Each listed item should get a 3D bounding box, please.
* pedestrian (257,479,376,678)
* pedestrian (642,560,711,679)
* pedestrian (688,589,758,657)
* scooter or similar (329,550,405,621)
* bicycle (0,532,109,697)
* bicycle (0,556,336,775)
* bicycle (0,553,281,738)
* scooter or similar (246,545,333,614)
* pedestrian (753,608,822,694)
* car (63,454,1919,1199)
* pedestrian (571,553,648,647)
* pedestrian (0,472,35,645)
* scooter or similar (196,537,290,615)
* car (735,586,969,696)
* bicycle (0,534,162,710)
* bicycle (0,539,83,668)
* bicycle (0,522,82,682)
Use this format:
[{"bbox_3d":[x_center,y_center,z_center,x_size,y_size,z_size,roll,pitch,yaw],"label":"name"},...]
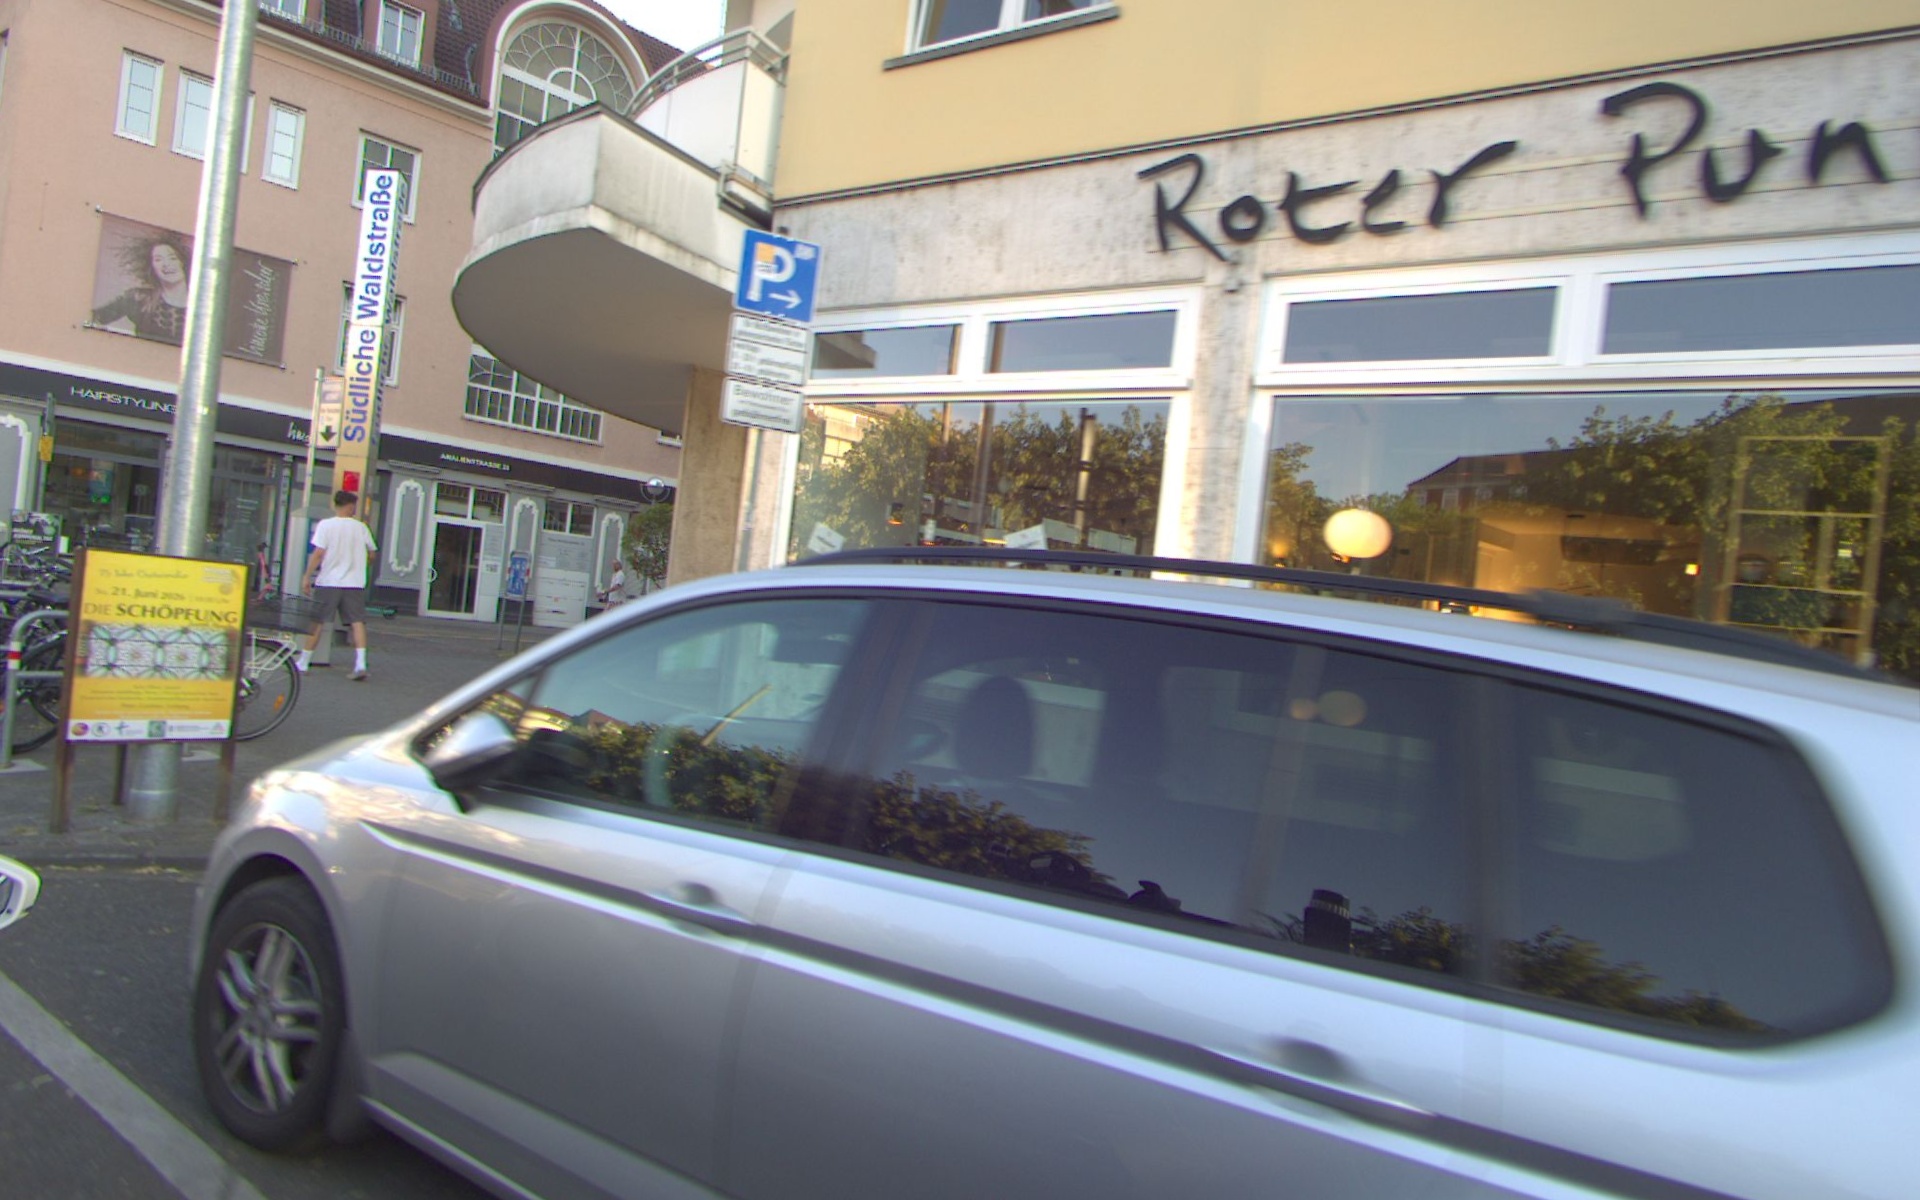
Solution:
[{"bbox_3d":[-6.461,-0.205,10.150,0.817,1.839,0.865,6,0,-31],"label":"pedestrian"},{"bbox_3d":[-4.328,0.301,15.392,0.743,1.689,0.732,7,-1,-8],"label":"pedestrian"},{"bbox_3d":[-5.729,0.560,24.304,1.209,1.429,0.889,9,0,33],"label":"pedestrian"},{"bbox_3d":[-11.793,-0.279,20.019,1.192,1.276,0.360,7,0,-33],"label":"scooter or similar"},{"bbox_3d":[-7.410,0.079,7.267,0.611,1.188,1.787,7,1,20],"label":"bicycle"},{"bbox_3d":[-4.983,0.373,6.240,0.584,1.137,1.850,5,0,20],"label":"bicycle"},{"bbox_3d":[-5.938,0.283,6.710,0.791,1.089,2.174,7,0,25],"label":"bicycle"},{"bbox_3d":[-12.936,-0.393,19.445,1.292,1.157,0.361,7,0,-32],"label":"scooter or similar"},{"bbox_3d":[-2.625,0.769,15.283,0.633,1.199,0.697,7,-1,-41],"label":"pedestrian"},{"bbox_3d":[-0.082,0.686,2.472,4.603,1.636,1.701,6,-1,30],"label":"car"},{"bbox_3d":[-7.248,0.020,20.842,0.811,1.797,1.100,6,0,25],"label":"pedestrian"},{"bbox_3d":[-9.677,-0.436,9.650,0.779,1.673,0.778,6,0,-15],"label":"pedestrian"},{"bbox_3d":[-12.764,-0.414,17.947,1.246,1.229,0.463,7,0,-36],"label":"scooter or similar"},{"bbox_3d":[-1.995,0.808,19.146,3.958,1.611,1.816,8,-1,-39],"label":"car"},{"bbox_3d":[-6.822,0.134,7.056,0.611,1.188,1.787,7,1,20],"label":"bicycle"},{"bbox_3d":[-8.643,-0.005,8.425,0.705,1.077,1.787,7,1,20],"label":"bicycle"},{"bbox_3d":[-8.025,-0.034,7.655,0.628,1.255,1.847,7,0,26],"label":"bicycle"}]
